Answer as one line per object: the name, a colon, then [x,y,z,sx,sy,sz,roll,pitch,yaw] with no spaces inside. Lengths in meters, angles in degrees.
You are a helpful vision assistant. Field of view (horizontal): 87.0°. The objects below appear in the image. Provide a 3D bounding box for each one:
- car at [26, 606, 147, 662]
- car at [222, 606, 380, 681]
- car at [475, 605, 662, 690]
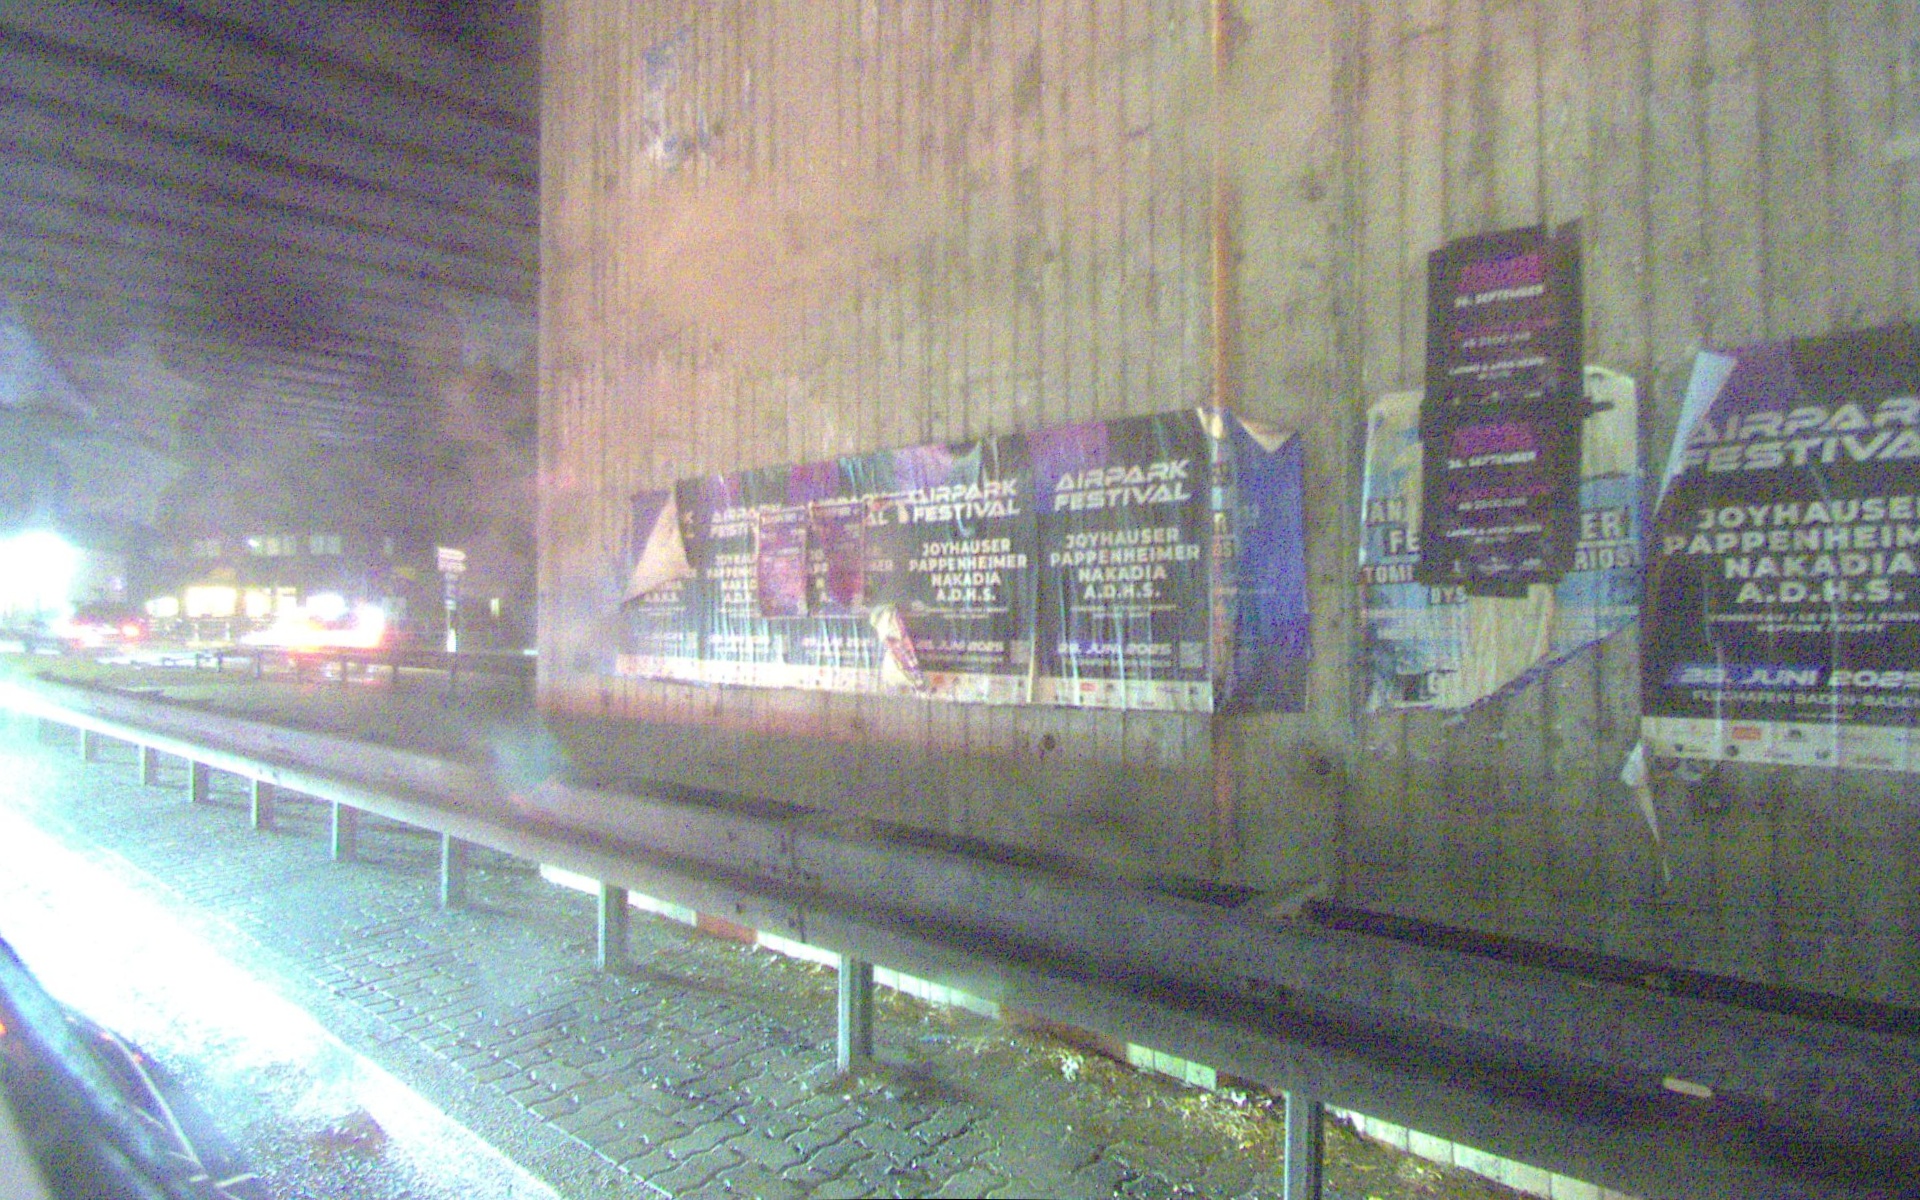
car: [-29.559,1.106,34.205,4.907,1.754,1.948,-1,0,35]
car: [-17.013,1.070,26.072,4.386,1.754,1.888,-1,0,34]
car: [-9.068,1.020,23.317,4.496,1.763,1.838,-1,0,35]
